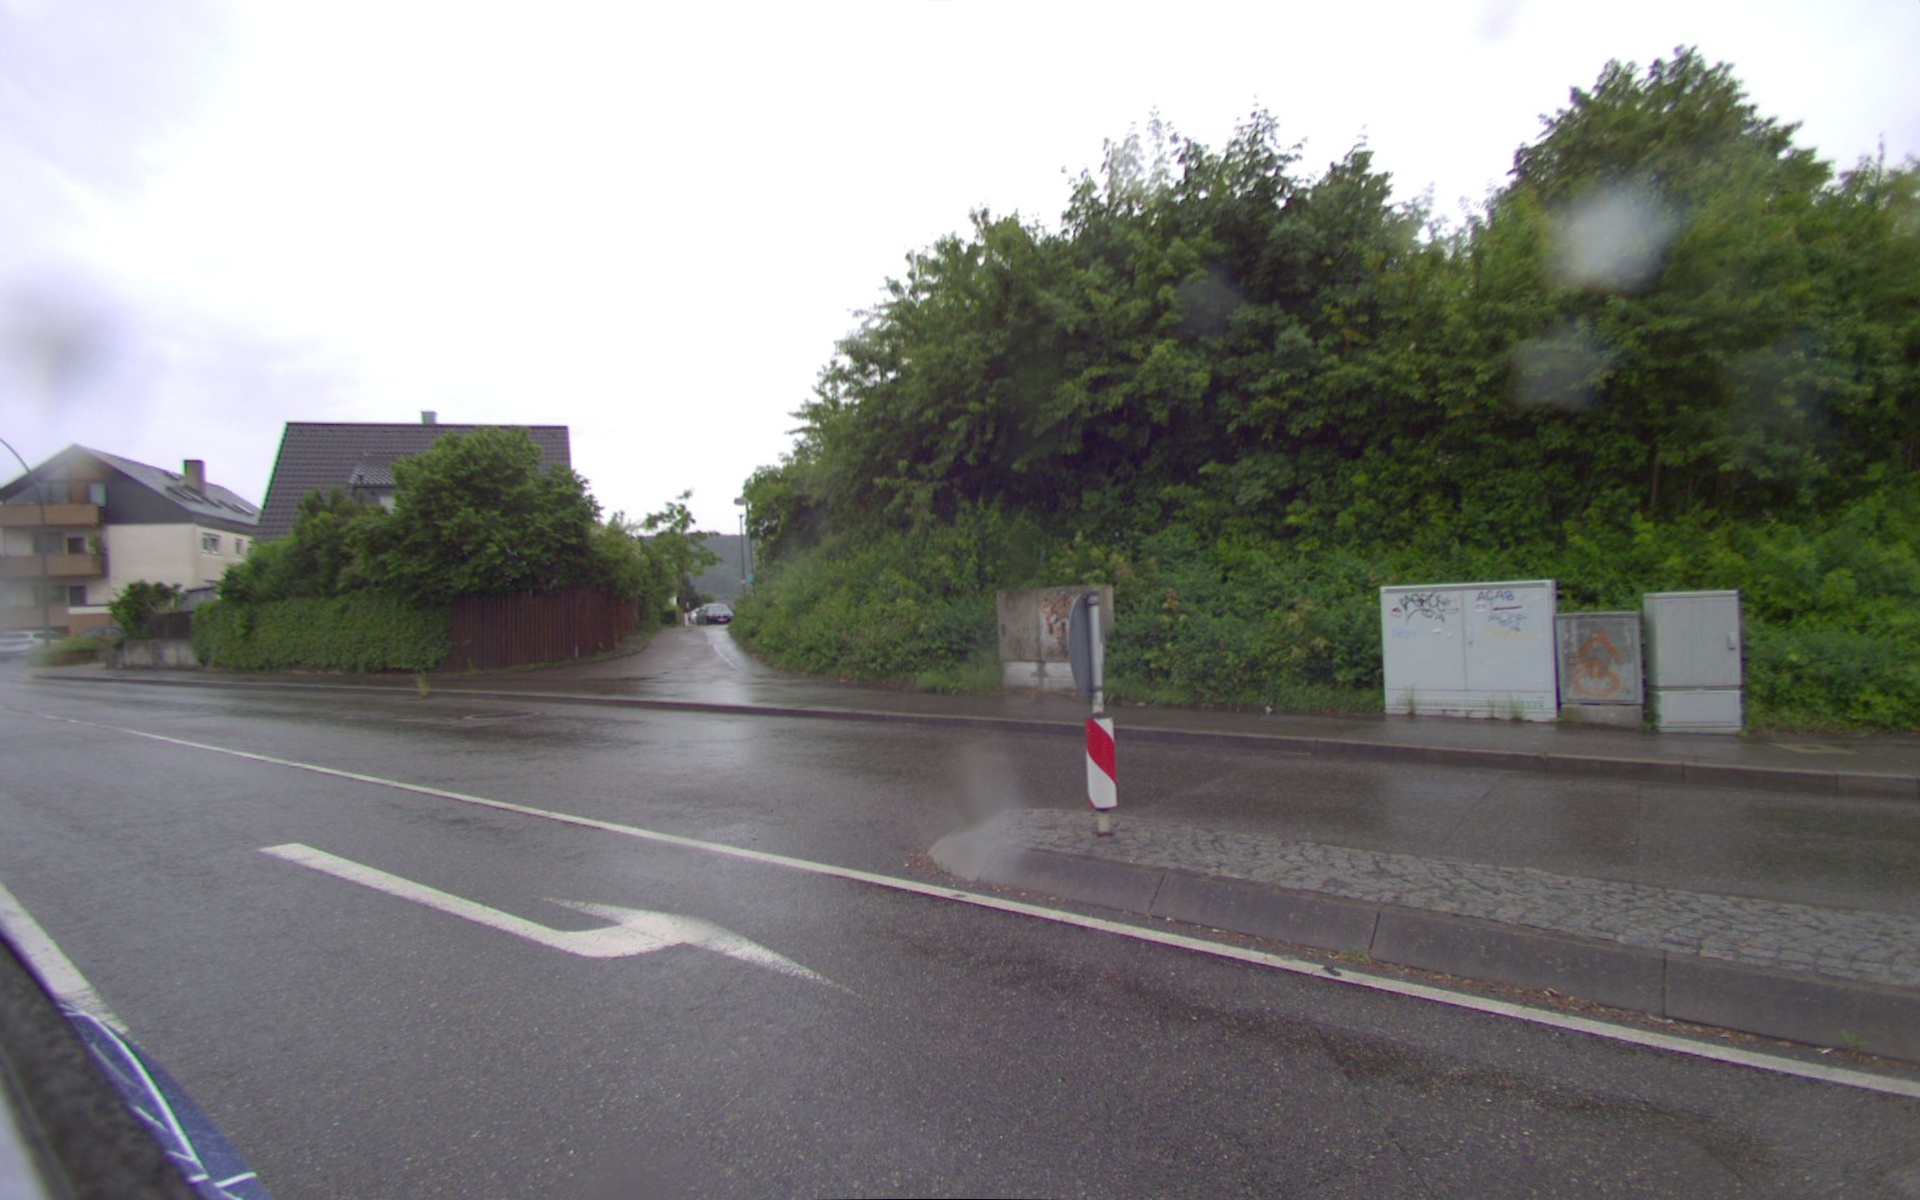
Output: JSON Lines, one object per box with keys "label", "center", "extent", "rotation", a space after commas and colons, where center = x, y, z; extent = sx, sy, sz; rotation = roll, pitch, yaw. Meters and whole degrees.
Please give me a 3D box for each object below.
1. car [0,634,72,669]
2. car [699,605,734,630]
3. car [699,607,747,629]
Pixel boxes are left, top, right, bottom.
{"label": "car", "center": [-46.706, 2.536, 50.775], "extent": [1.638, 1.558, 4.011], "rotation": [-1, 0, -15]}
{"label": "car", "center": [-15.888, 1.155, 65.930], "extent": [1.867, 1.494, 4.012], "rotation": [-1, -1, -18]}
{"label": "car", "center": [-17.234, 1.330, 73.440], "extent": [1.967, 1.497, 4.009], "rotation": [-1, 0, -37]}
